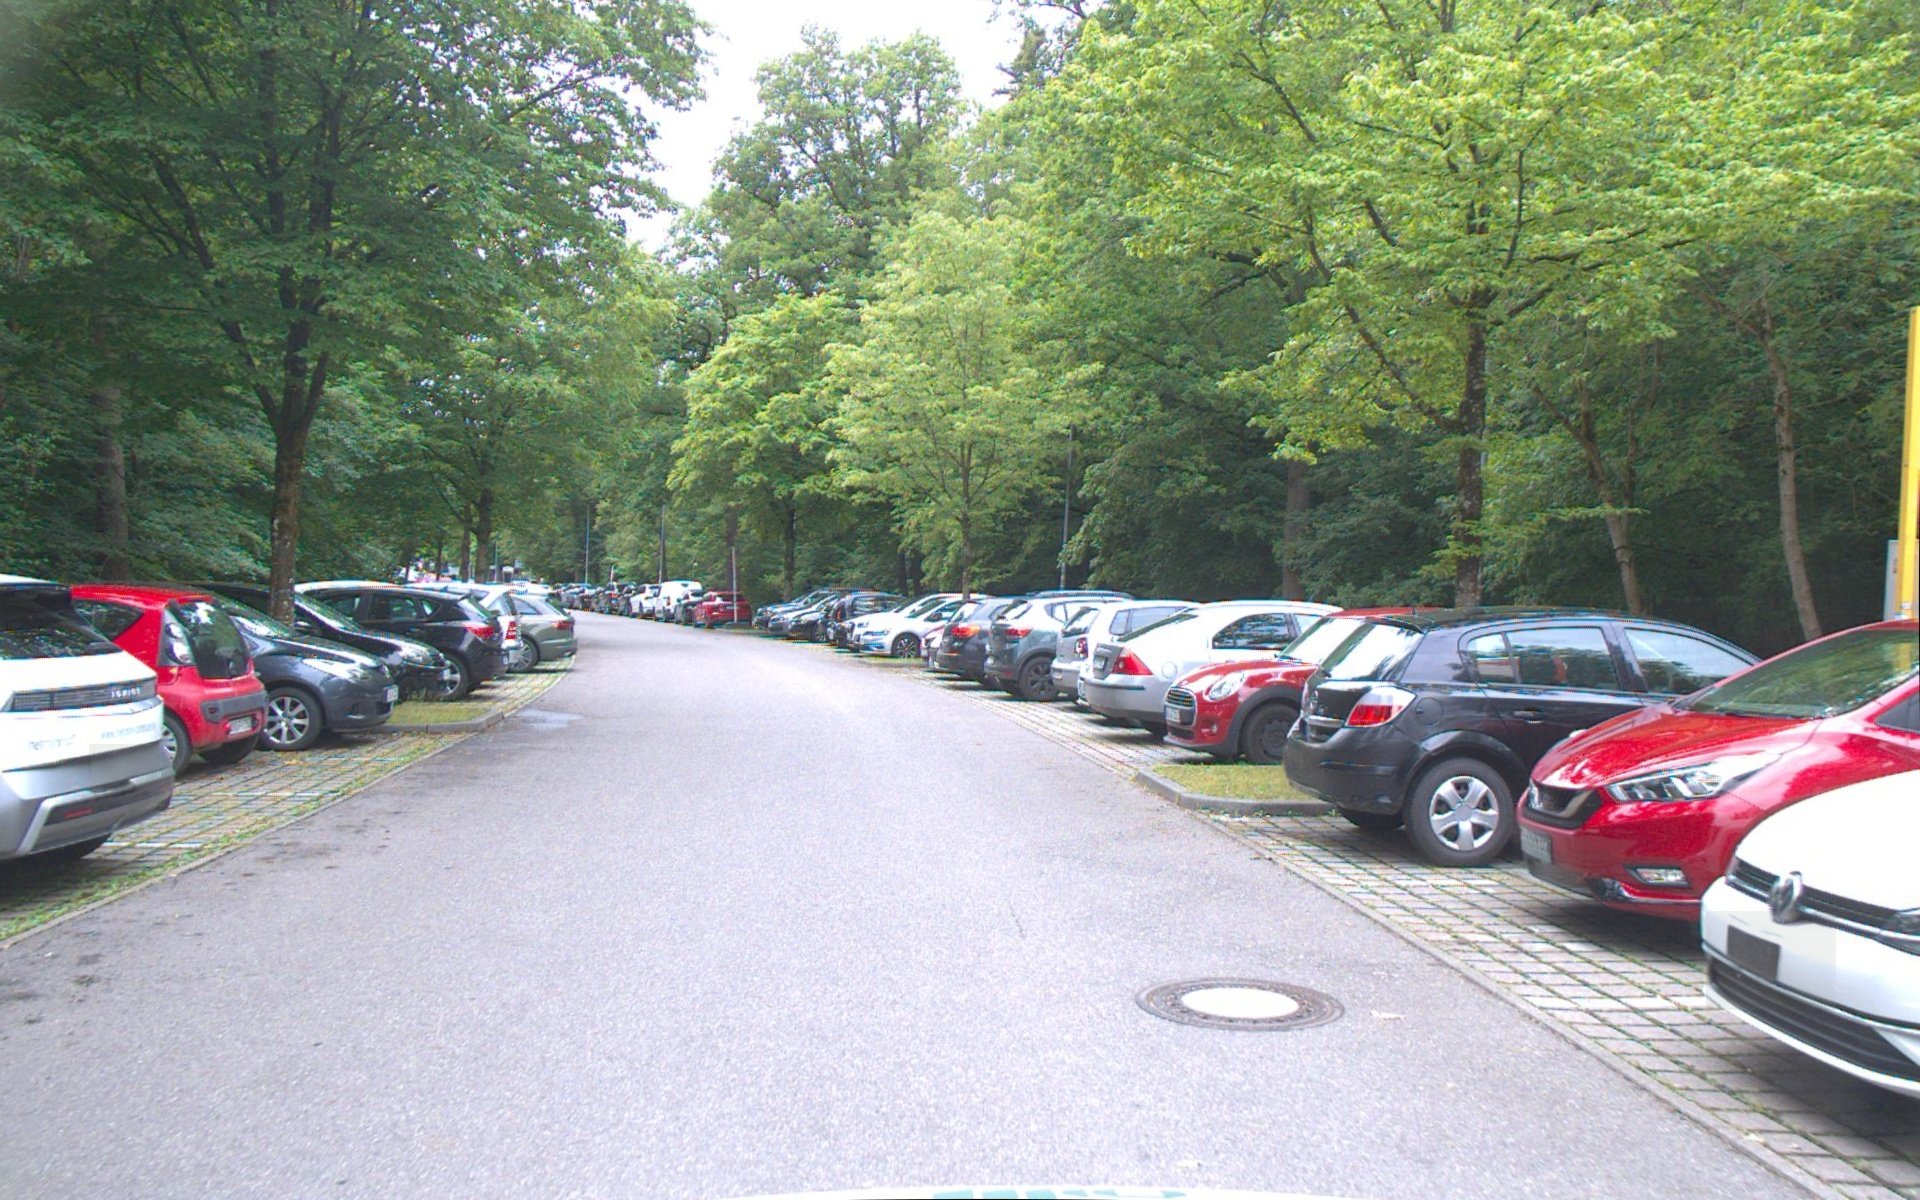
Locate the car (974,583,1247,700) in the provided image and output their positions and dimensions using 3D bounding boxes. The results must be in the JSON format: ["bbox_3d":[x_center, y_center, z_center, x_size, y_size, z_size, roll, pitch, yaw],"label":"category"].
[{"bbox_3d":[2.213,0.604,24.911,3.699,1.617,1.945,1,1,-10],"label":"car"}]

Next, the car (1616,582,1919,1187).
[{"bbox_3d":[4.741,0.751,5.120,4.675,1.501,1.852,1,1,-2],"label":"car"}]

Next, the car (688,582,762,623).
[{"bbox_3d":[-9.176,0.082,64.242,1.963,1.505,4.945,1,0,-19],"label":"car"}]

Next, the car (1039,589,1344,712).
[{"bbox_3d":[3.111,0.667,22.551,3.773,1.573,1.726,1,0,-11],"label":"car"}]

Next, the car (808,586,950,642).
[{"bbox_3d":[-2.346,0.387,47.417,3.765,1.558,1.843,0,0,-16],"label":"car"}]

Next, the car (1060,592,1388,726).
[{"bbox_3d":[3.201,0.708,20.402,3.633,1.537,1.748,1,0,-9],"label":"car"}]

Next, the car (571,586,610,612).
[{"bbox_3d":[-22.590,-0.057,101.017,1.614,1.503,4.122,1,0,-23],"label":"car"}]

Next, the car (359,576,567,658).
[{"bbox_3d":[-10.472,0.350,35.099,3.883,1.656,1.996,0,0,-5],"label":"car"}]

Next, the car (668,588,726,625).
[{"bbox_3d":[-11.085,0.245,69.513,1.699,1.447,4.261,1,0,-19],"label":"car"}]

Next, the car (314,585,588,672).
[{"bbox_3d":[-9.121,0.491,30.039,4.558,1.504,2.089,0,0,-12],"label":"car"}]

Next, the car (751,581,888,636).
[{"bbox_3d":[-4.651,0.277,54.651,4.198,1.695,1.949,1,0,-17],"label":"car"}]

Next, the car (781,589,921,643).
[{"bbox_3d":[-3.308,0.478,49.962,3.922,1.501,1.944,1,0,-16],"label":"car"}]

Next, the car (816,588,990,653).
[{"bbox_3d":[-1.486,0.514,42.601,4.120,1.538,1.885,1,1,-17],"label":"car"}]

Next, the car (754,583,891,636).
[{"bbox_3d":[-4.352,0.312,52.380,3.932,1.579,1.962,1,0,-22],"label":"car"}]

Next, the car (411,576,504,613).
[{"bbox_3d":[-24.183,-0.273,79.592,4.162,1.661,2.017,1,0,-20],"label":"car"}]

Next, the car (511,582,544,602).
[{"bbox_3d":[-33.507,-0.647,128.089,1.701,1.520,3.742,1,0,-26],"label":"car"}]

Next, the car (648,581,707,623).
[{"bbox_3d":[-12.761,0.052,74.537,1.719,1.811,4.523,1,0,-21],"label":"car"}]

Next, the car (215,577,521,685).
[{"bbox_3d":[-8.900,0.447,25.197,4.159,1.560,1.757,0,0,-12],"label":"car"}]

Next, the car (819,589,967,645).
[{"bbox_3d":[-1.843,0.474,45.241,3.763,1.483,1.802,0,0,-15],"label":"car"}]

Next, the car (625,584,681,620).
[{"bbox_3d":[-14.935,0.077,80.315,1.761,1.691,4.686,1,0,-22],"label":"car"}]

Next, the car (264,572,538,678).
[{"bbox_3d":[-9.233,0.403,27.673,4.161,1.676,1.963,0,0,-14],"label":"car"}]

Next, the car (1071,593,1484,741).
[{"bbox_3d":[3.377,0.705,18.026,4.048,1.487,1.862,1,0,-7],"label":"car"}]

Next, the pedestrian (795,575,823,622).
[{"bbox_3d":[-5.773,-0.049,63.272,0.805,1.756,0.998,2,0,-19],"label":"pedestrian"}]

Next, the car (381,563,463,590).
[{"bbox_3d":[-33.428,-1.466,102.779,4.667,1.623,1.946,1,1,-23],"label":"car"}]

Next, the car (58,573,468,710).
[{"bbox_3d":[-8.146,0.492,19.671,4.154,1.499,1.716,1,-1,-9],"label":"car"}]

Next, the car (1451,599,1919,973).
[{"bbox_3d":[4.698,0.794,7.820,4.146,1.506,1.917,1,0,-5],"label":"car"}]

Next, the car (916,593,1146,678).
[{"bbox_3d":[1.264,0.638,30.323,3.863,1.435,1.873,1,1,-12],"label":"car"}]

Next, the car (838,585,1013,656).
[{"bbox_3d":[-0.858,0.490,40.156,3.938,1.586,1.972,1,1,-12],"label":"car"}]

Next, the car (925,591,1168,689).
[{"bbox_3d":[1.421,0.652,27.680,3.704,1.507,1.767,1,1,-14],"label":"car"}]

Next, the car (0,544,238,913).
[{"bbox_3d":[-6.140,0.545,8.141,4.269,1.626,2.029,1,0,-4],"label":"car"}]

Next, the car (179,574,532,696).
[{"bbox_3d":[-8.126,0.466,22.611,4.154,1.557,2.003,1,0,-8],"label":"car"}]

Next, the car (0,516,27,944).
[{"bbox_3d":[-5.986,0.488,5.627,4.336,1.724,2.170,1,1,-3],"label":"car"}]

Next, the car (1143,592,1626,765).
[{"bbox_3d":[3.858,0.697,15.399,3.913,1.475,1.937,1,0,-9],"label":"car"}]

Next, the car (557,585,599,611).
[{"bbox_3d":[-24.588,-0.125,106.480,1.950,1.564,4.591,1,0,-22],"label":"car"}]

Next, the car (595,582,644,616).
[{"bbox_3d":[-18.801,-0.061,91.165,1.862,1.777,4.917,1,0,-21],"label":"car"}]

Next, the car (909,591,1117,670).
[{"bbox_3d":[1.045,0.614,33.131,3.739,1.466,1.859,1,1,-21],"label":"car"}]

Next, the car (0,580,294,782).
[{"bbox_3d":[-7.425,0.598,13.204,3.536,1.500,1.672,1,1,-5],"label":"car"}]

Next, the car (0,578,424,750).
[{"bbox_3d":[-7.278,0.563,15.736,3.913,1.517,1.704,0,1,-9],"label":"car"}]

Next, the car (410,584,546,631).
[{"bbox_3d":[-16.377,0.262,56.202,4.304,1.512,1.880,1,0,-22],"label":"car"}]

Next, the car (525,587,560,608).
[{"bbox_3d":[-31.030,-0.187,122.900,1.910,1.501,3.964,1,0,-23],"label":"car"}]

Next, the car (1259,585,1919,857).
[{"bbox_3d":[4.037,0.692,10.339,3.909,1.509,1.920,1,0,-5],"label":"car"}]

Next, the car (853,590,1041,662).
[{"bbox_3d":[-0.322,0.579,37.683,3.912,1.509,1.876,1,1,-17],"label":"car"}]
